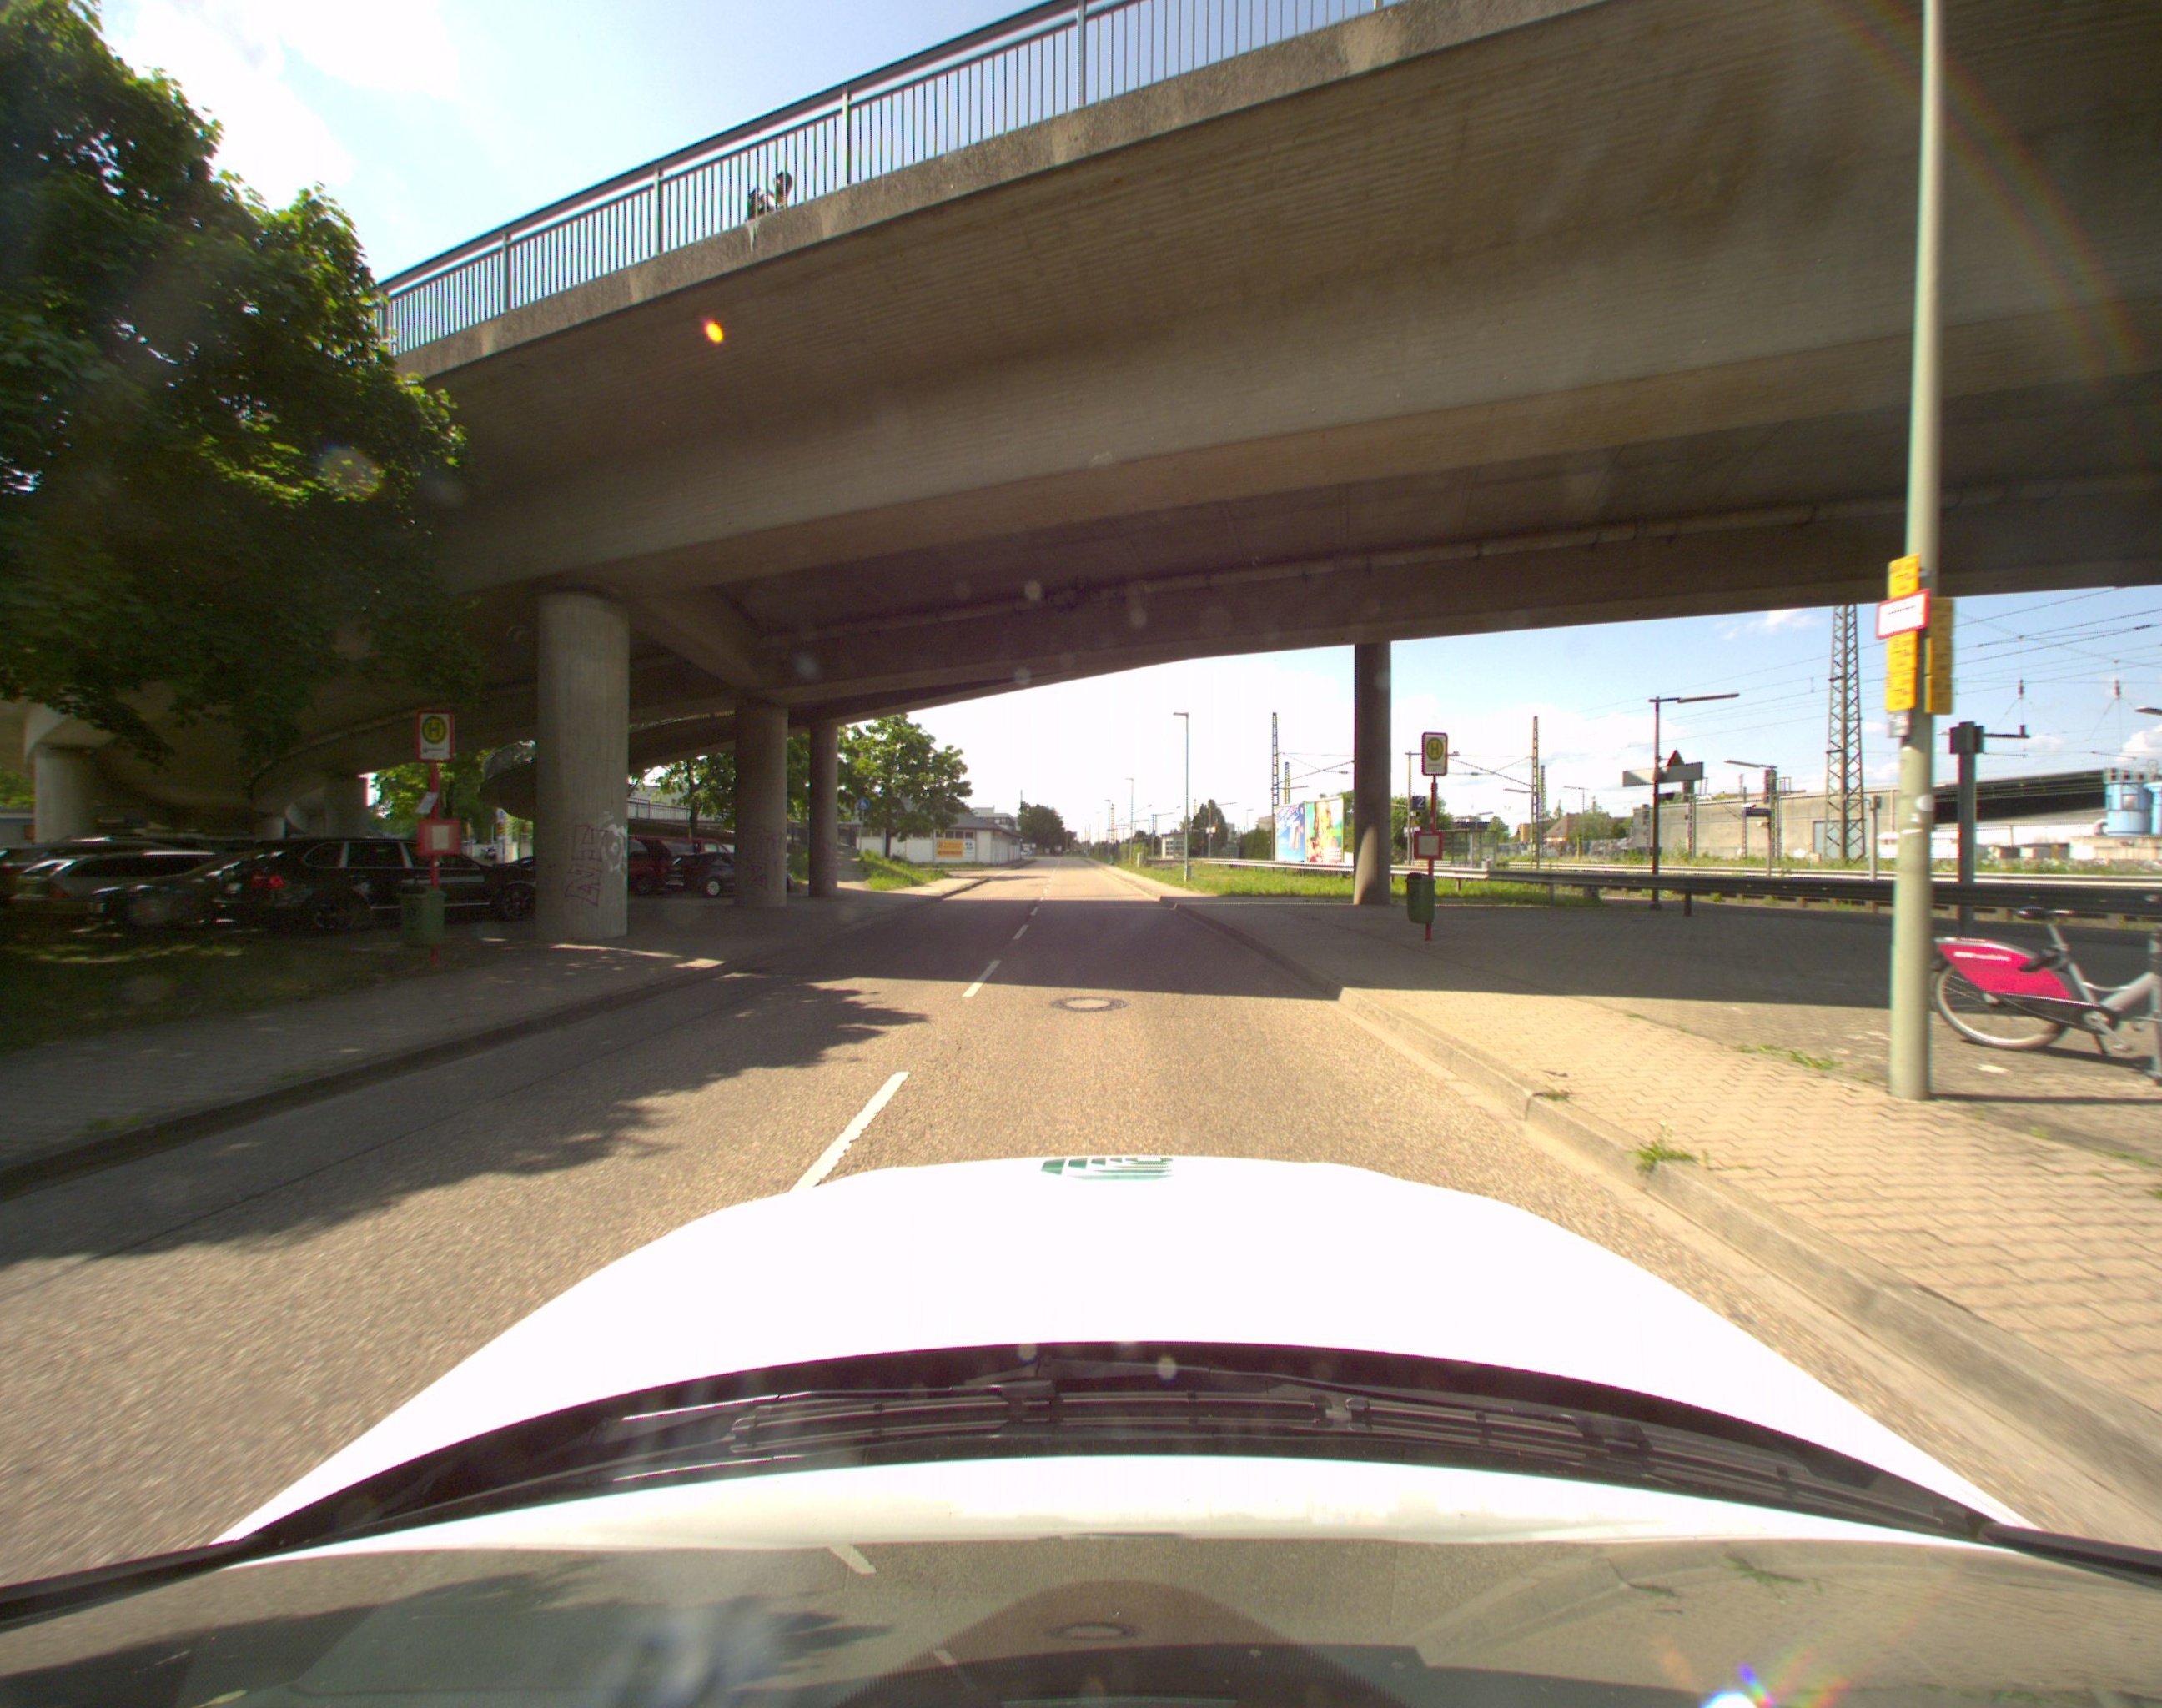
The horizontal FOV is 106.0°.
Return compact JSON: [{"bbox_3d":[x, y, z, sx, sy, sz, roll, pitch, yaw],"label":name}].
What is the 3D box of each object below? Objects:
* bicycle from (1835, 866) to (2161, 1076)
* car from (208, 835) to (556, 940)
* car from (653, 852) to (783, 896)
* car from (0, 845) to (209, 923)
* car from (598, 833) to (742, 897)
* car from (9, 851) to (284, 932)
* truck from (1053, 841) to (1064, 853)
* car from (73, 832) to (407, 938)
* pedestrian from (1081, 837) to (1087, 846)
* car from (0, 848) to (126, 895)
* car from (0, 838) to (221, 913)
[{"bbox_3d":[6.102,0.651,5.026,0.643,1.108,2.184,-1,0,-10],"label":"bicycle"},{"bbox_3d":[-12.617,0.508,15.125,1.663,1.629,4.601,-1,0,25],"label":"car"},{"bbox_3d":[-11.704,0.614,26.444,1.671,1.284,3.472,-1,0,36],"label":"car"},{"bbox_3d":[-21.503,0.587,17.716,1.536,1.548,3.108,-1,0,26],"label":"car"},{"bbox_3d":[-14.076,0.334,28.065,1.922,2.013,3.983,-1,0,37],"label":"car"},{"bbox_3d":[-18.808,0.682,16.559,1.734,1.451,3.286,-1,0,24],"label":"car"},{"bbox_3d":[-7.057,-2.195,260.587,3.119,3.632,6.425,-1,0,2],"label":"truck"},{"bbox_3d":[-15.672,0.491,15.432,1.974,1.718,4.025,-1,0,30],"label":"car"},{"bbox_3d":[0.679,-3.010,191.067,1.065,2.013,0.841,0,1,-41],"label":"pedestrian"},{"bbox_3d":[-33.610,0.545,25.941,1.688,1.444,4.050,-1,0,38],"label":"car"},{"bbox_3d":[-24.547,0.481,20.078,1.699,1.708,4.271,-1,0,26],"label":"car"}]
